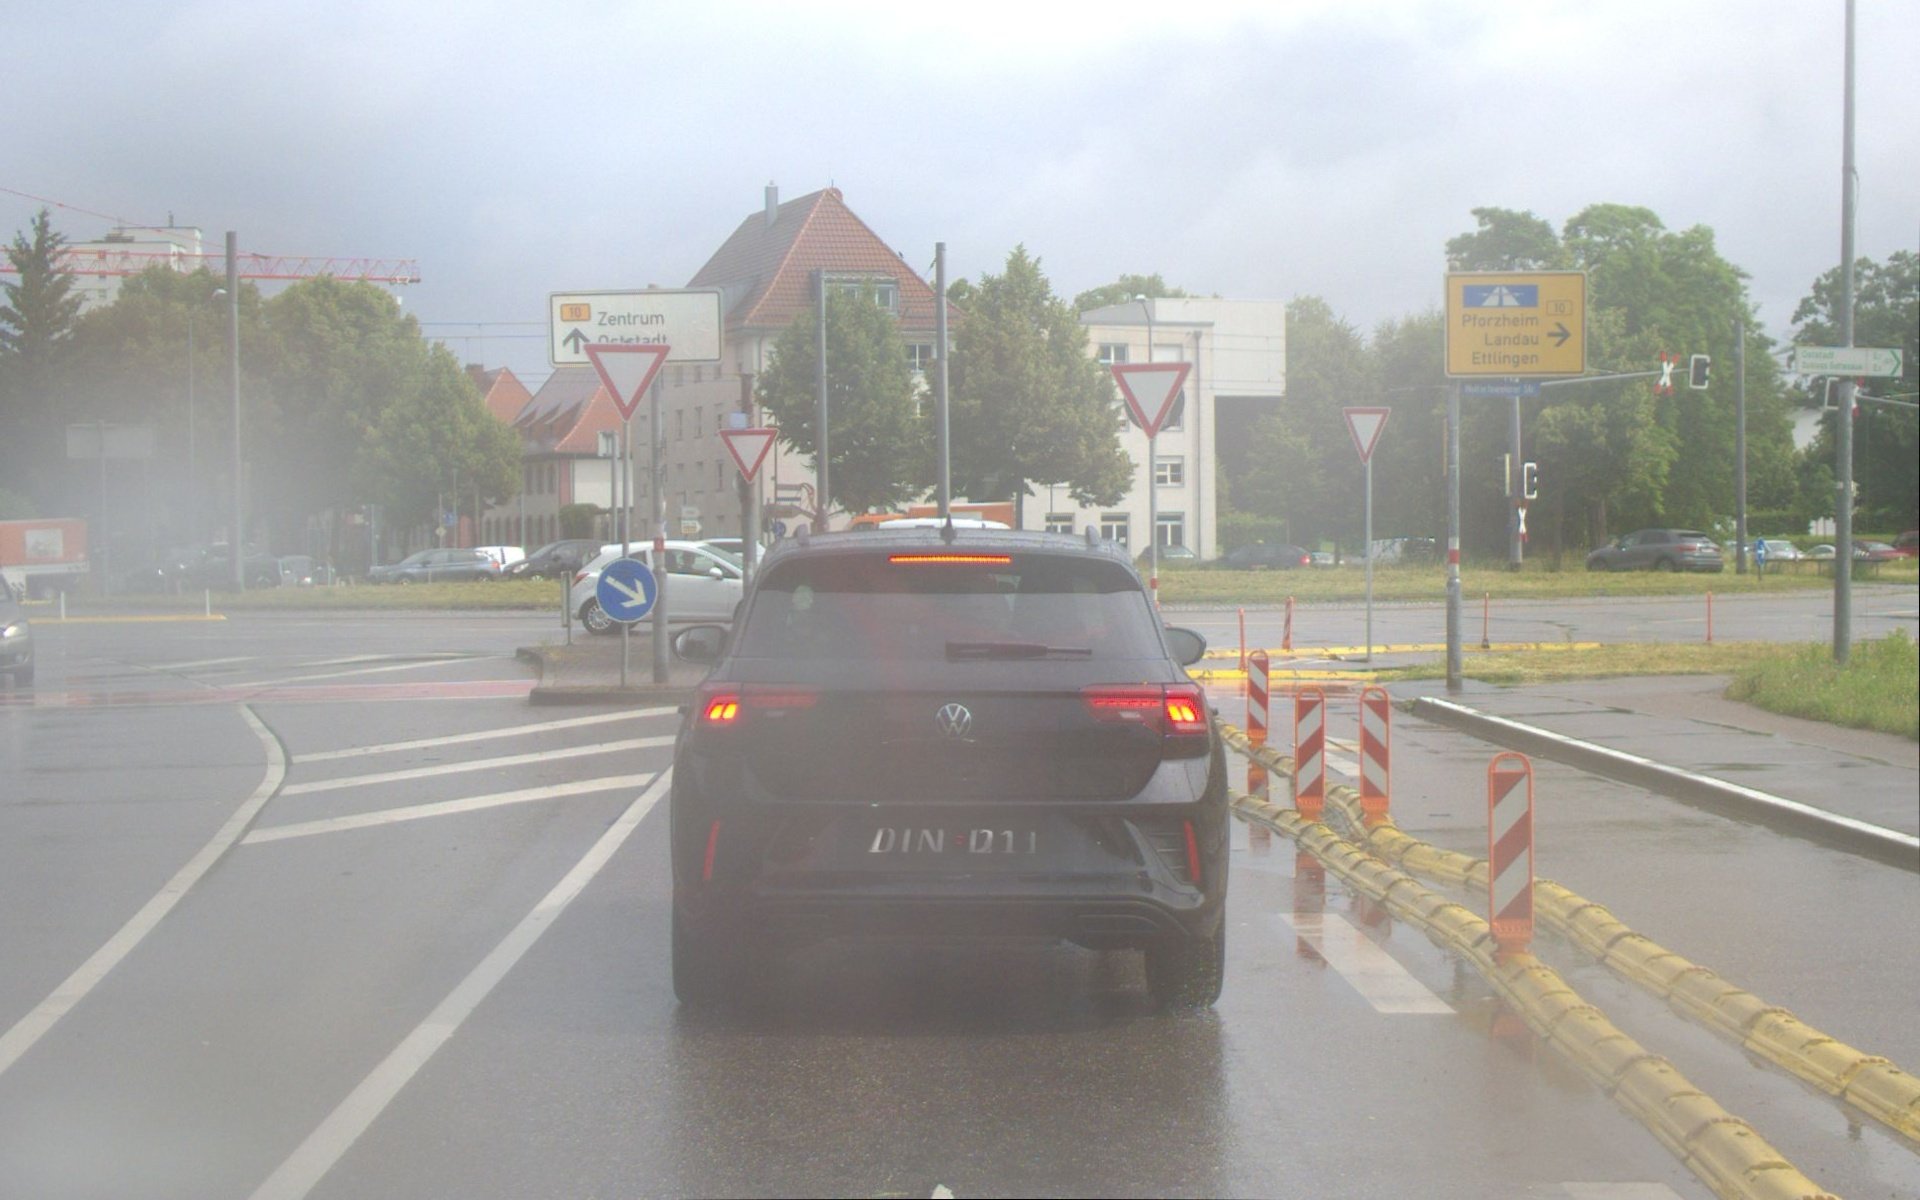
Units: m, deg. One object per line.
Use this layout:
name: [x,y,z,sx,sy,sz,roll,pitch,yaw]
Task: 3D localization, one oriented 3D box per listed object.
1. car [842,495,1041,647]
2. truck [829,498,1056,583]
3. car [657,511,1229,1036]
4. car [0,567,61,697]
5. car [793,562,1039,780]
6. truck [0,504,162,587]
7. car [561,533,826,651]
car: [-0.171,-0.387,42.892,1.865,1.803,4.402,0,1,8]
truck: [-0.566,-1.880,107.912,7.066,2.641,2.330,0,1,-1]
car: [-0.172,0.504,12.158,1.708,1.568,3.683,0,1,-4]
car: [-12.759,0.420,43.867,1.780,1.546,4.427,-4,1,-23]
car: [-0.397,0.482,26.144,1.735,1.509,3.604,0,1,-3]
truck: [-27.727,-1.657,103.655,6.703,2.434,2.434,-1,1,-35]
car: [-4.223,-0.134,55.002,3.987,1.824,2.000,0,1,3]
